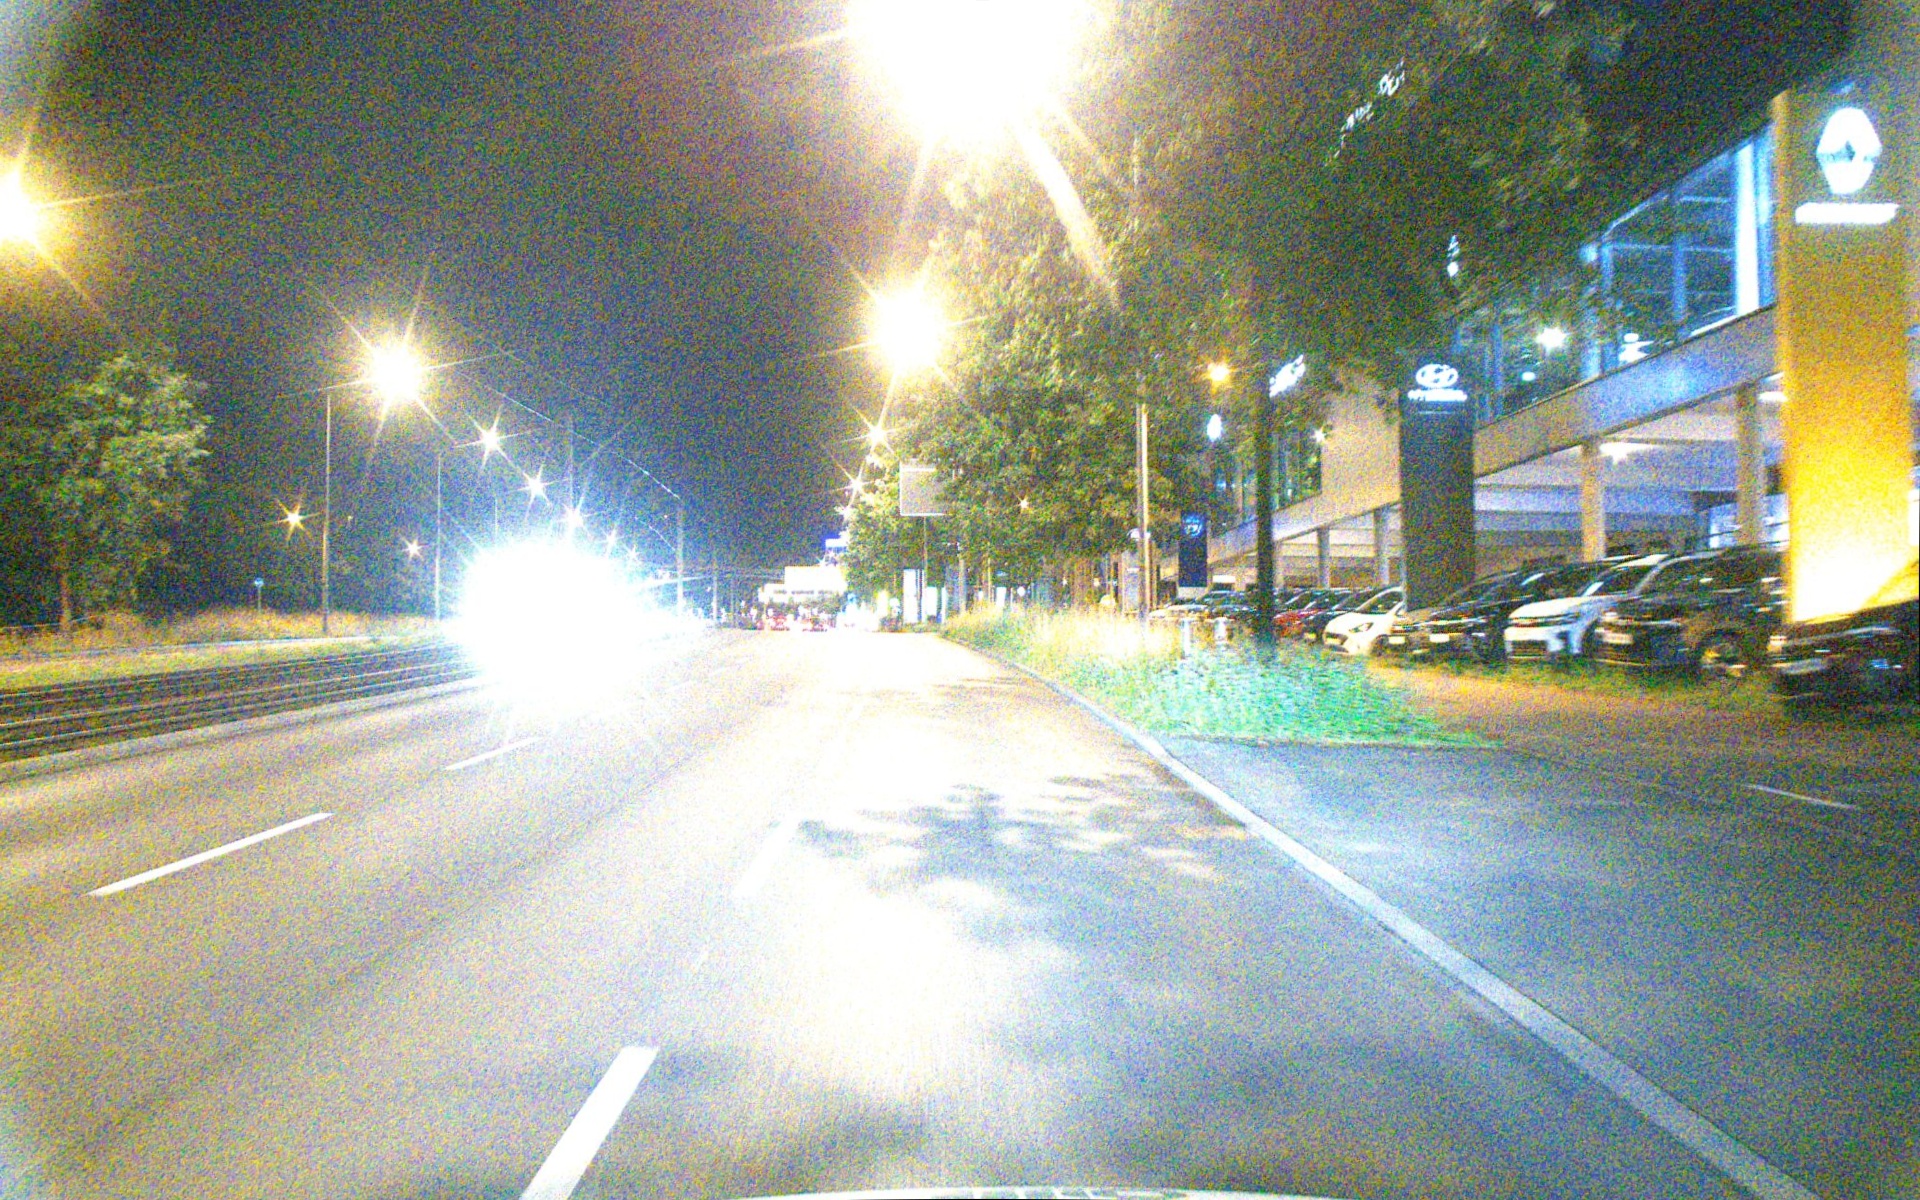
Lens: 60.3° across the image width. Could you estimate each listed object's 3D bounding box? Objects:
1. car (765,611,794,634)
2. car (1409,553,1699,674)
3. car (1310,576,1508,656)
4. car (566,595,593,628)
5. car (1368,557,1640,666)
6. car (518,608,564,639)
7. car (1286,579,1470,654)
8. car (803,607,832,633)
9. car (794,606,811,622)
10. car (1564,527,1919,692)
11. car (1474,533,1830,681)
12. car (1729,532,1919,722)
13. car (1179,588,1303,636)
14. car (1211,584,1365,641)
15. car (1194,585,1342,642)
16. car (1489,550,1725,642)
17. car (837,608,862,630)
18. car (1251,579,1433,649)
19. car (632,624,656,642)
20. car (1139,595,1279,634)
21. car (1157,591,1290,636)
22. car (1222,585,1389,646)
[{"bbox_3d":[-15.889,1.972,145.631,2.217,2.049,4.823,0,-1,-3],"label":"car"},{"bbox_3d":[9.596,0.195,26.828,4.011,1.596,1.848,-4,1,-13],"label":"car"},{"bbox_3d":[9.625,0.322,35.551,3.741,1.478,1.710,-3,0,-16],"label":"car"},{"bbox_3d":[-34.398,1.075,149.522,2.110,2.718,6.934,-2,-1,-15],"label":"car"},{"bbox_3d":[9.933,0.205,30.303,4.383,1.574,1.764,-5,0,-12],"label":"car"},{"bbox_3d":[-24.432,1.376,96.558,1.744,1.743,4.224,0,-1,-2],"label":"car"},{"bbox_3d":[9.608,0.360,38.059,3.707,1.402,1.709,-4,1,-16],"label":"car"},{"bbox_3d":[-12.329,1.708,143.095,2.309,2.166,4.823,0,-1,-3],"label":"car"},{"bbox_3d":[-18.671,1.687,196.412,1.849,1.892,3.998,0,-1,-3],"label":"car"},{"bbox_3d":[10.318,0.082,21.293,4.384,1.841,1.993,-3,0,-13],"label":"car"},{"bbox_3d":[10.026,0.077,24.087,4.385,1.716,1.993,-5,1,-13],"label":"car"},{"bbox_3d":[10.023,0.155,16.246,4.130,1.692,1.954,-3,0,-13],"label":"car"},{"bbox_3d":[8.784,0.379,51.719,3.557,1.459,1.666,1,-1,-26],"label":"car"},{"bbox_3d":[9.174,0.328,46.306,3.936,1.416,1.812,-2,1,-25],"label":"car"},{"bbox_3d":[9.131,0.388,49.053,3.932,1.495,1.821,-2,0,-22],"label":"car"},{"bbox_3d":[14.561,-0.068,37.454,1.817,1.951,4.760,1,-1,-39],"label":"car"},{"bbox_3d":[-10.967,1.926,165.095,2.379,2.150,4.823,1,-1,-3],"label":"car"},{"bbox_3d":[9.383,0.328,40.653,3.962,1.397,1.816,-4,1,-19],"label":"car"},{"bbox_3d":[-30.457,3.135,159.632,1.956,1.622,3.993,-2,0,-7],"label":"car"},{"bbox_3d":[8.615,0.492,57.107,4.575,1.286,1.930,0,1,-28],"label":"car"},{"bbox_3d":[8.656,0.428,54.387,3.928,1.448,1.898,0,1,-20],"label":"car"},{"bbox_3d":[9.161,0.391,43.928,3.919,1.405,1.803,-3,0,-13],"label":"car"}]
